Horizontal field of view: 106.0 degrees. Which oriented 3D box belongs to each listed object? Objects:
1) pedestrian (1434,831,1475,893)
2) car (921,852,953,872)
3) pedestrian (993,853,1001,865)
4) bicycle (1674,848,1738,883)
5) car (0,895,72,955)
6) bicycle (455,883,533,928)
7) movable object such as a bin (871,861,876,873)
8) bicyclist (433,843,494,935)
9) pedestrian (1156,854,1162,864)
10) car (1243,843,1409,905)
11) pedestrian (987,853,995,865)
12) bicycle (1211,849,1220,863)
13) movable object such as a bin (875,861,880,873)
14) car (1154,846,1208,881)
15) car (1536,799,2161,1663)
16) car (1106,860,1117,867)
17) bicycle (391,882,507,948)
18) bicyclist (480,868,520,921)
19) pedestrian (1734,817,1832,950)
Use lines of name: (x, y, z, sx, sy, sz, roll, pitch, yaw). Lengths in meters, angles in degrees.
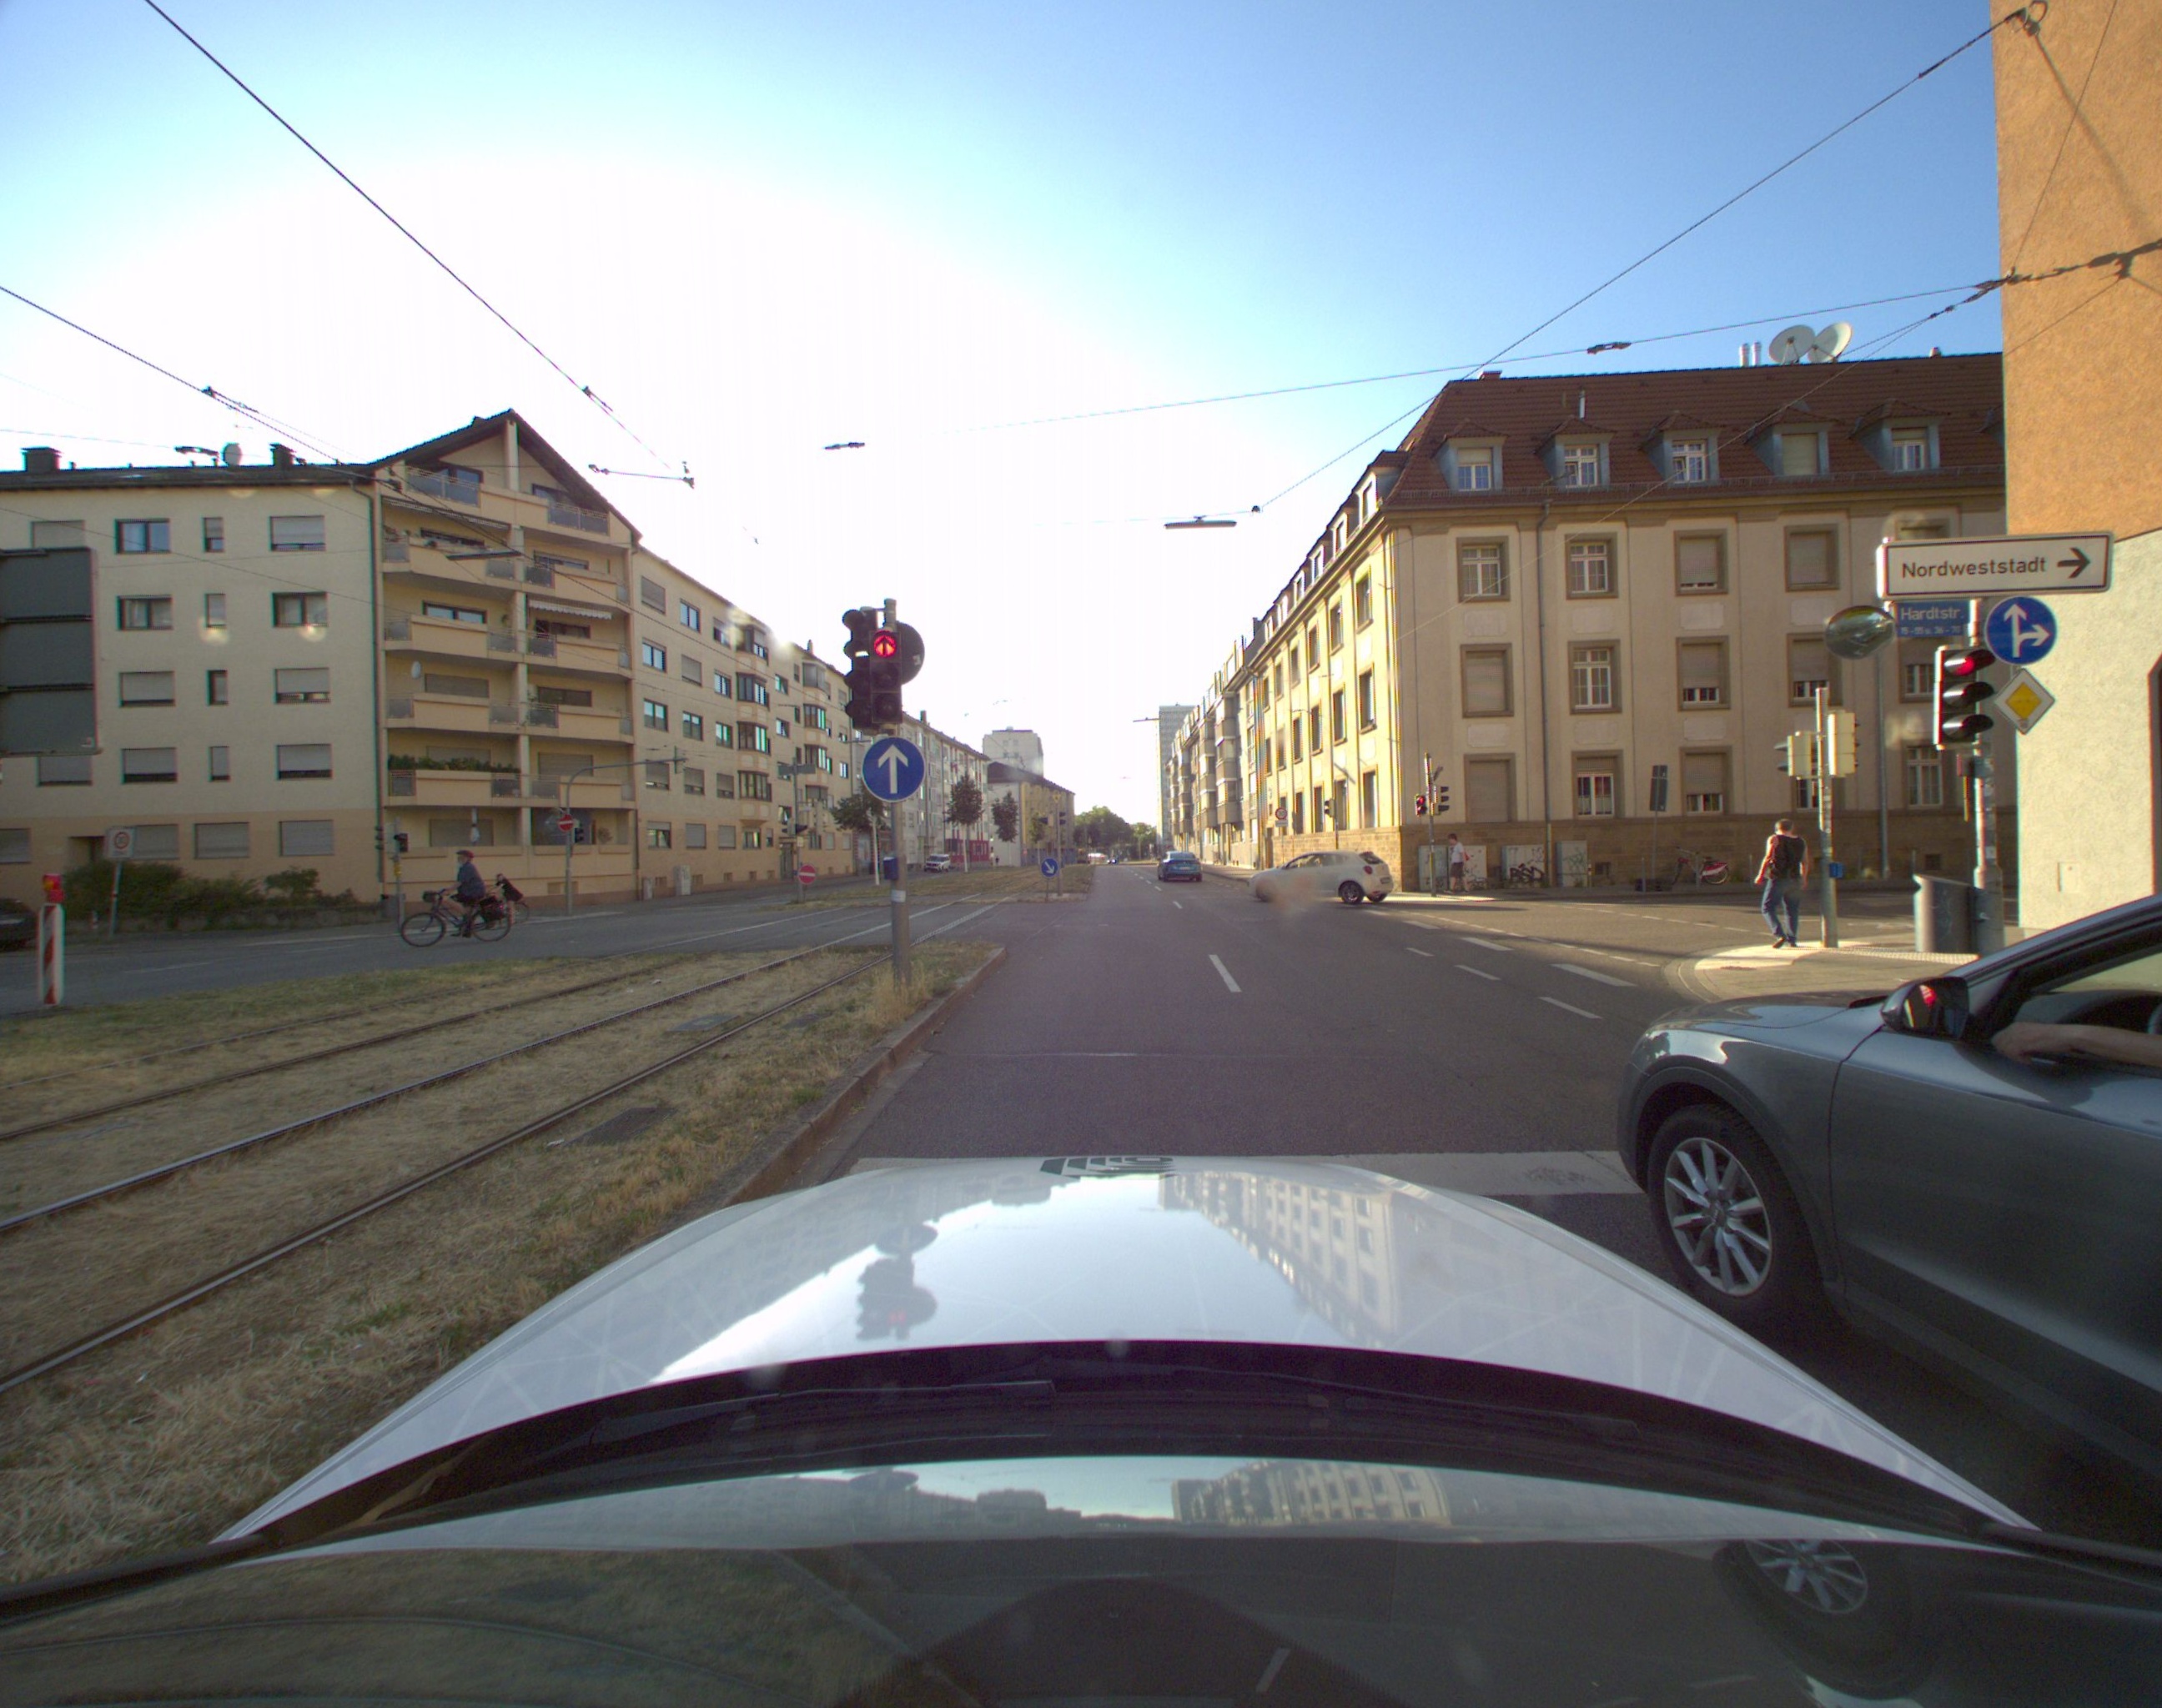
pedestrian: (10.947, 0.238, 23.884, 0.832, 1.762, 0.824, 0, -1, 1)
car: (-14.523, 0.804, 82.196, 1.984, 1.925, 4.548, 0, -1, 5)
pedestrian: (-11.973, 0.761, 116.073, 0.957, 1.670, 1.013, -1, -1, 7)
bicycle: (18.398, 0.331, 23.986, 1.491, 1.018, 0.251, -1, -1, 17)
car: (-30.121, 1.953, 21.517, 3.983, 1.442, 1.996, -2, 2, -7)
bicycle: (-18.233, 1.586, 25.336, 0.450, 1.257, 1.883, -1, 1, 34)
movable object such as a bin: (-17.558, 1.110, 68.905, 0.297, 1.036, 0.442, 0, -1, 4)
bicyclist: (-13.173, 0.723, 17.403, 0.810, 1.882, 0.648, -3, 2, -22)
pedestrian: (10.013, 0.621, 104.360, 0.688, 1.234, 0.737, 0, -1, 2)
car: (6.772, 0.528, 22.723, 3.949, 1.564, 2.012, -1, -1, 41)
pedestrian: (-12.761, 0.764, 115.766, 0.957, 1.694, 1.013, -1, -1, 7)
bicycle: (10.175, 0.157, 61.768, 0.382, 1.096, 1.503, -2, -1, 0)
movable object such as a bin: (-17.378, 1.102, 69.519, 0.297, 1.036, 0.441, 0, -1, 1)
car: (4.730, 0.456, 39.031, 1.988, 1.554, 4.391, 0, 0, -1)
car: (2.782, 0.671, 1.453, 1.691, 1.552, 4.227, 0, 0, 2)
car: (7.511, 2.257, 200.808, 1.885, 1.633, 4.761, -2, 0, 10)
bicycle: (-13.386, 1.270, 17.304, 1.873, 1.257, 0.453, -2, 1, -25)
bicyclist: (-18.186, 1.260, 25.494, 0.620, 1.586, 0.814, -1, 0, 35)
pedestrian: (9.643, 0.392, 11.215, 0.627, 1.758, 0.826, 0, -1, 1)
